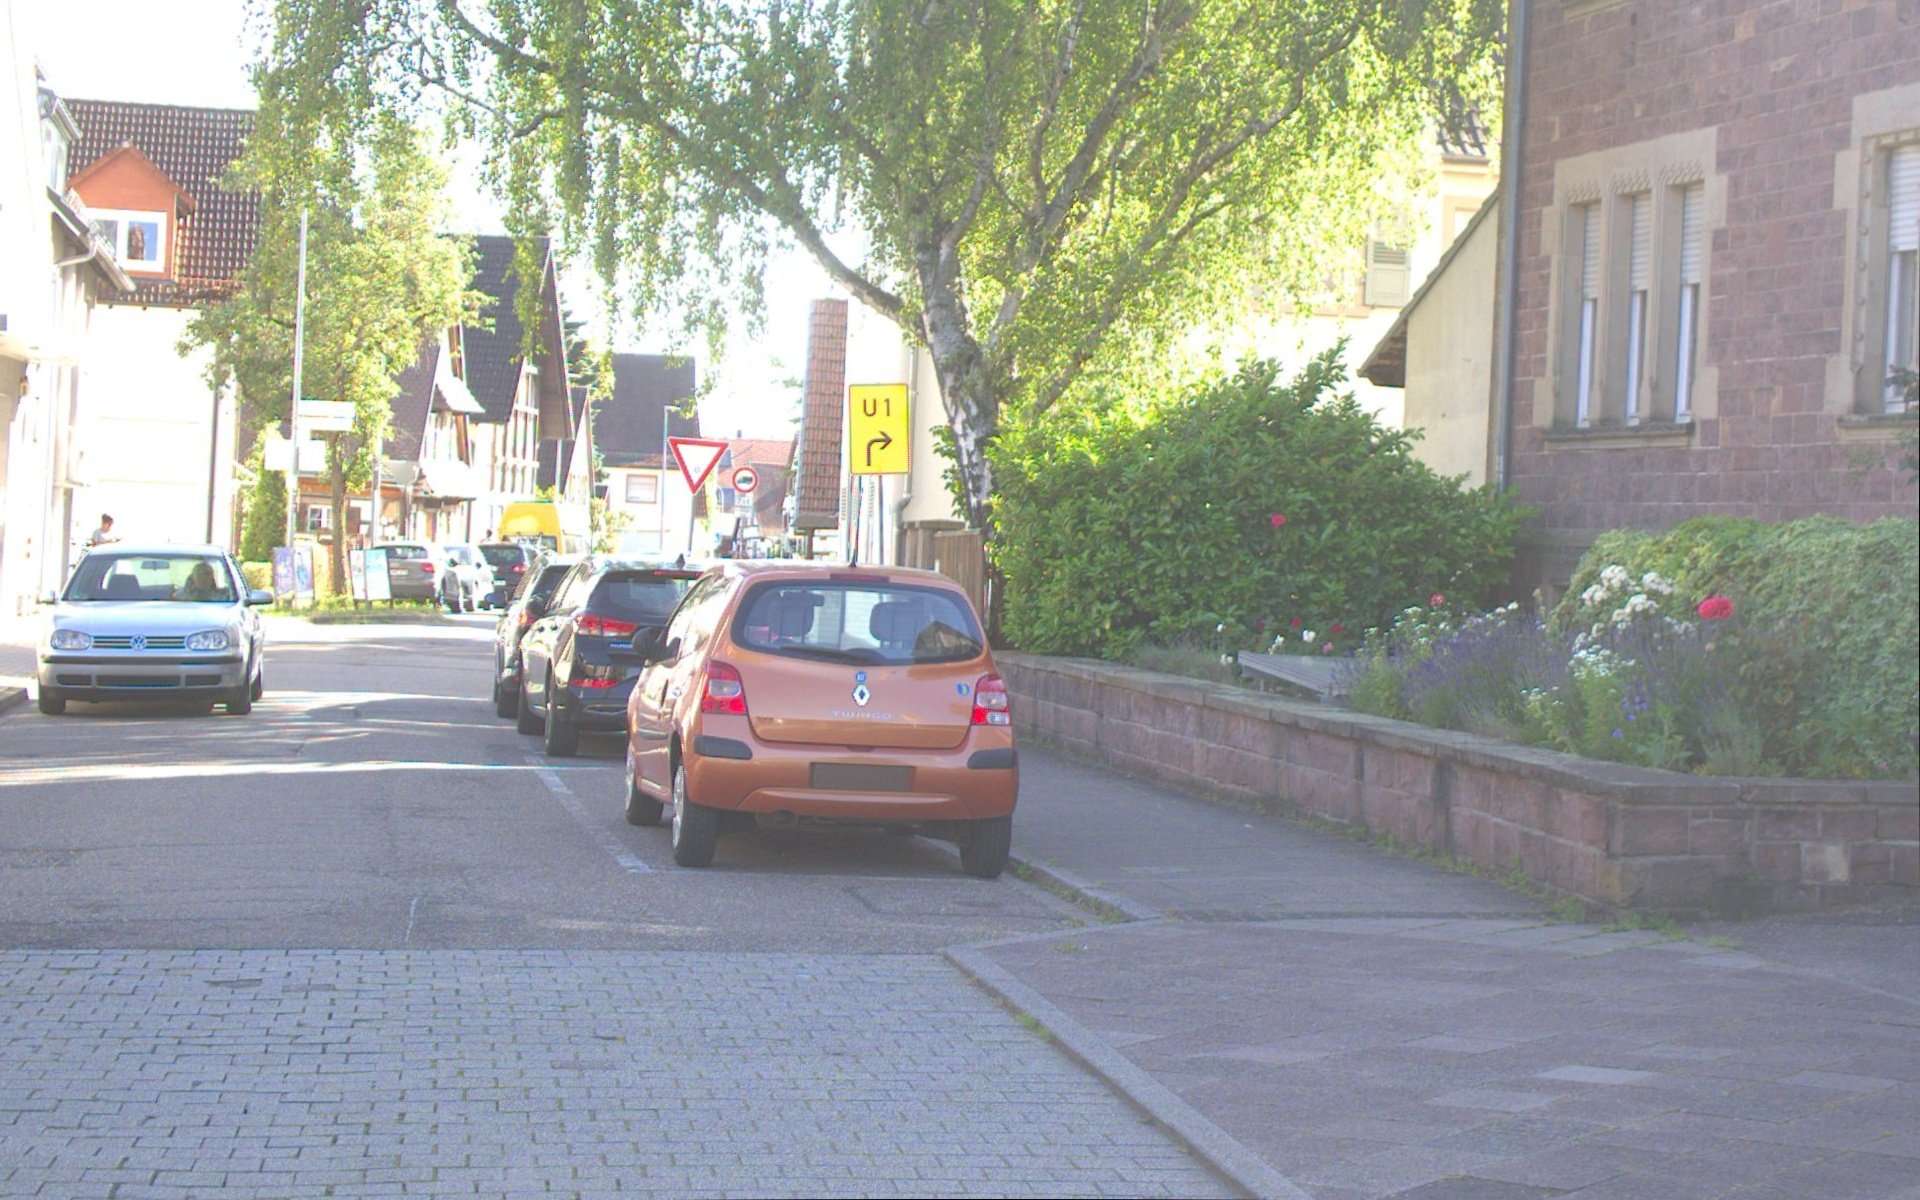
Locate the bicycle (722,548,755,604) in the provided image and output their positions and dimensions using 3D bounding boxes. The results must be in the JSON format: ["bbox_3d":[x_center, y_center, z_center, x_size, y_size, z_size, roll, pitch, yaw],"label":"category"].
[{"bbox_3d":[-4.821,-0.525,74.948,0.433,1.172,1.828,3,1,4],"label":"bicycle"}]

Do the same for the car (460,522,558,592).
[{"bbox_3d":[-11.299,-1.060,86.365,1.806,1.616,3.880,3,0,1],"label":"car"}]

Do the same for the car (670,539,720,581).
[{"bbox_3d":[-9.713,-1.467,126.168,1.588,1.438,3.615,3,1,-2],"label":"car"}]

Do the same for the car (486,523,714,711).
[{"bbox_3d":[-3.255,0.099,30.613,1.807,1.431,4.287,3,1,-7],"label":"car"}]

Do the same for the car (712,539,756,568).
[{"bbox_3d":[-13.607,-2.790,206.956,1.972,1.577,3.996,3,1,-13],"label":"car"}]

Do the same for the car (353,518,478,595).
[{"bbox_3d":[-11.524,-0.912,73.040,1.867,1.500,4.107,3,0,1],"label":"car"}]

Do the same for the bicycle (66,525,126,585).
[{"bbox_3d":[-16.030,-0.824,63.848,0.578,1.049,2.036,3,0,-1],"label":"bicycle"}]

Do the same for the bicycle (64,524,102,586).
[{"bbox_3d":[-15.425,-0.782,60.482,0.423,1.049,1.381,3,0,-7],"label":"bicycle"}]

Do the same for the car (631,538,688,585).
[{"bbox_3d":[-9.975,-1.292,114.242,1.588,1.438,3.615,3,1,-2],"label":"car"}]

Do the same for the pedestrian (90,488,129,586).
[{"bbox_3d":[-15.013,-1.111,60.693,0.483,1.687,0.557,3,-1,-4],"label":"pedestrian"}]

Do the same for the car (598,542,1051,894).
[{"bbox_3d":[-0.811,0.515,17.651,1.647,1.473,3.935,3,1,-11],"label":"car"}]

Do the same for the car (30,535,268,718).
[{"bbox_3d":[-6.885,0.178,29.489,1.670,1.398,3.893,2,1,-9],"label":"car"}]

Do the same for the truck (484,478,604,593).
[{"bbox_3d":[-11.077,-1.680,91.955,2.268,2.858,5.782,3,0,1],"label":"truck"}]

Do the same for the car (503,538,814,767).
[{"bbox_3d":[-2.365,0.334,25.968,1.807,1.431,4.287,3,1,-11],"label":"car"}]
